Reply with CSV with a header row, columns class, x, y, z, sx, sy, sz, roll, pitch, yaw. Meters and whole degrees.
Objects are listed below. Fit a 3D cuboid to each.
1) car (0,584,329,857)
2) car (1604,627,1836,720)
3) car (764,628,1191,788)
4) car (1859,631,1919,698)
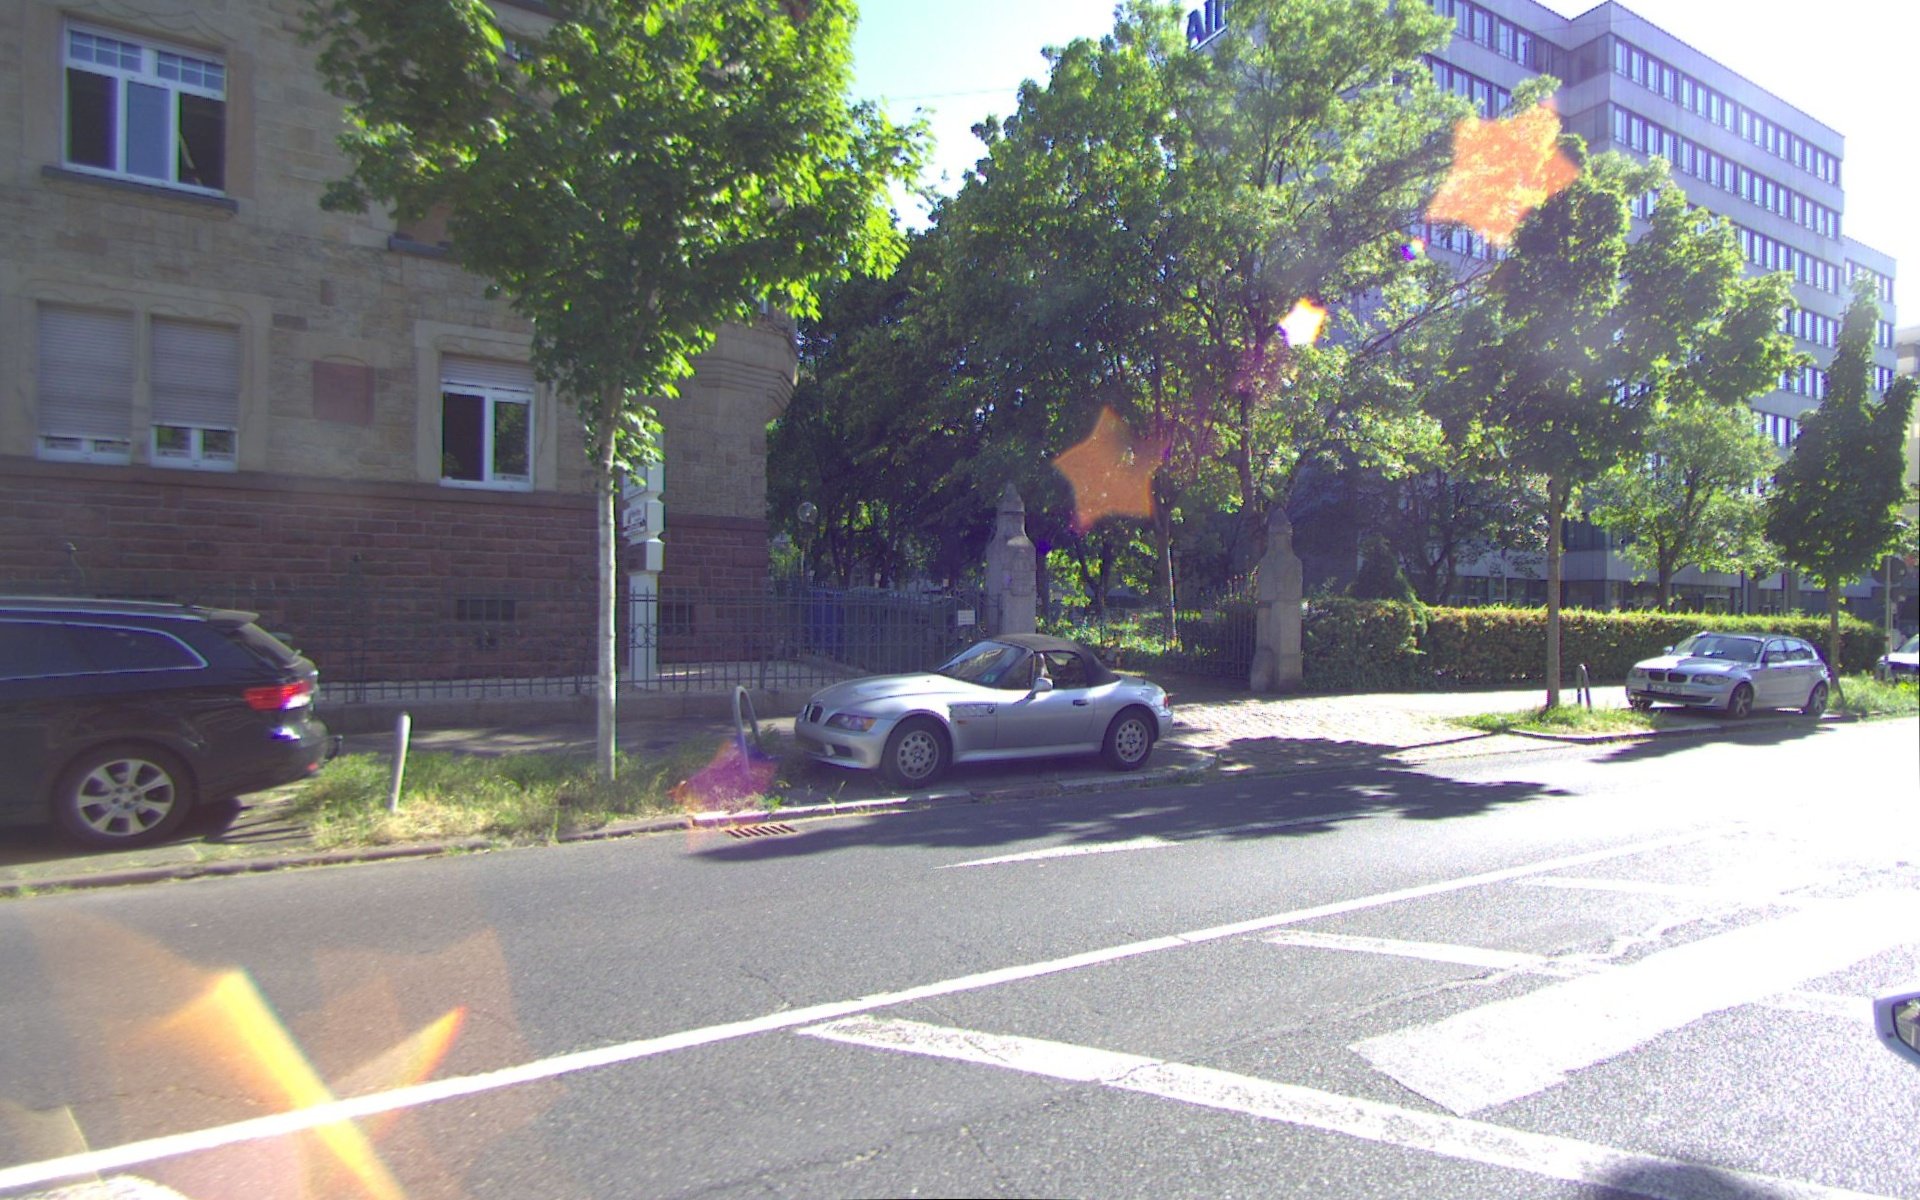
class,x,y,z,sx,sy,sz,roll,pitch,yaw
car,-6.660,0.677,6.138,4.659,1.514,1.843,1,2,-35
car,13.541,1.245,17.866,4.138,1.402,1.681,1,1,-28
car,0.230,0.950,9.994,3.967,1.272,1.670,1,0,-30
car,23.271,1.507,23.803,4.022,1.478,1.704,1,0,-29
